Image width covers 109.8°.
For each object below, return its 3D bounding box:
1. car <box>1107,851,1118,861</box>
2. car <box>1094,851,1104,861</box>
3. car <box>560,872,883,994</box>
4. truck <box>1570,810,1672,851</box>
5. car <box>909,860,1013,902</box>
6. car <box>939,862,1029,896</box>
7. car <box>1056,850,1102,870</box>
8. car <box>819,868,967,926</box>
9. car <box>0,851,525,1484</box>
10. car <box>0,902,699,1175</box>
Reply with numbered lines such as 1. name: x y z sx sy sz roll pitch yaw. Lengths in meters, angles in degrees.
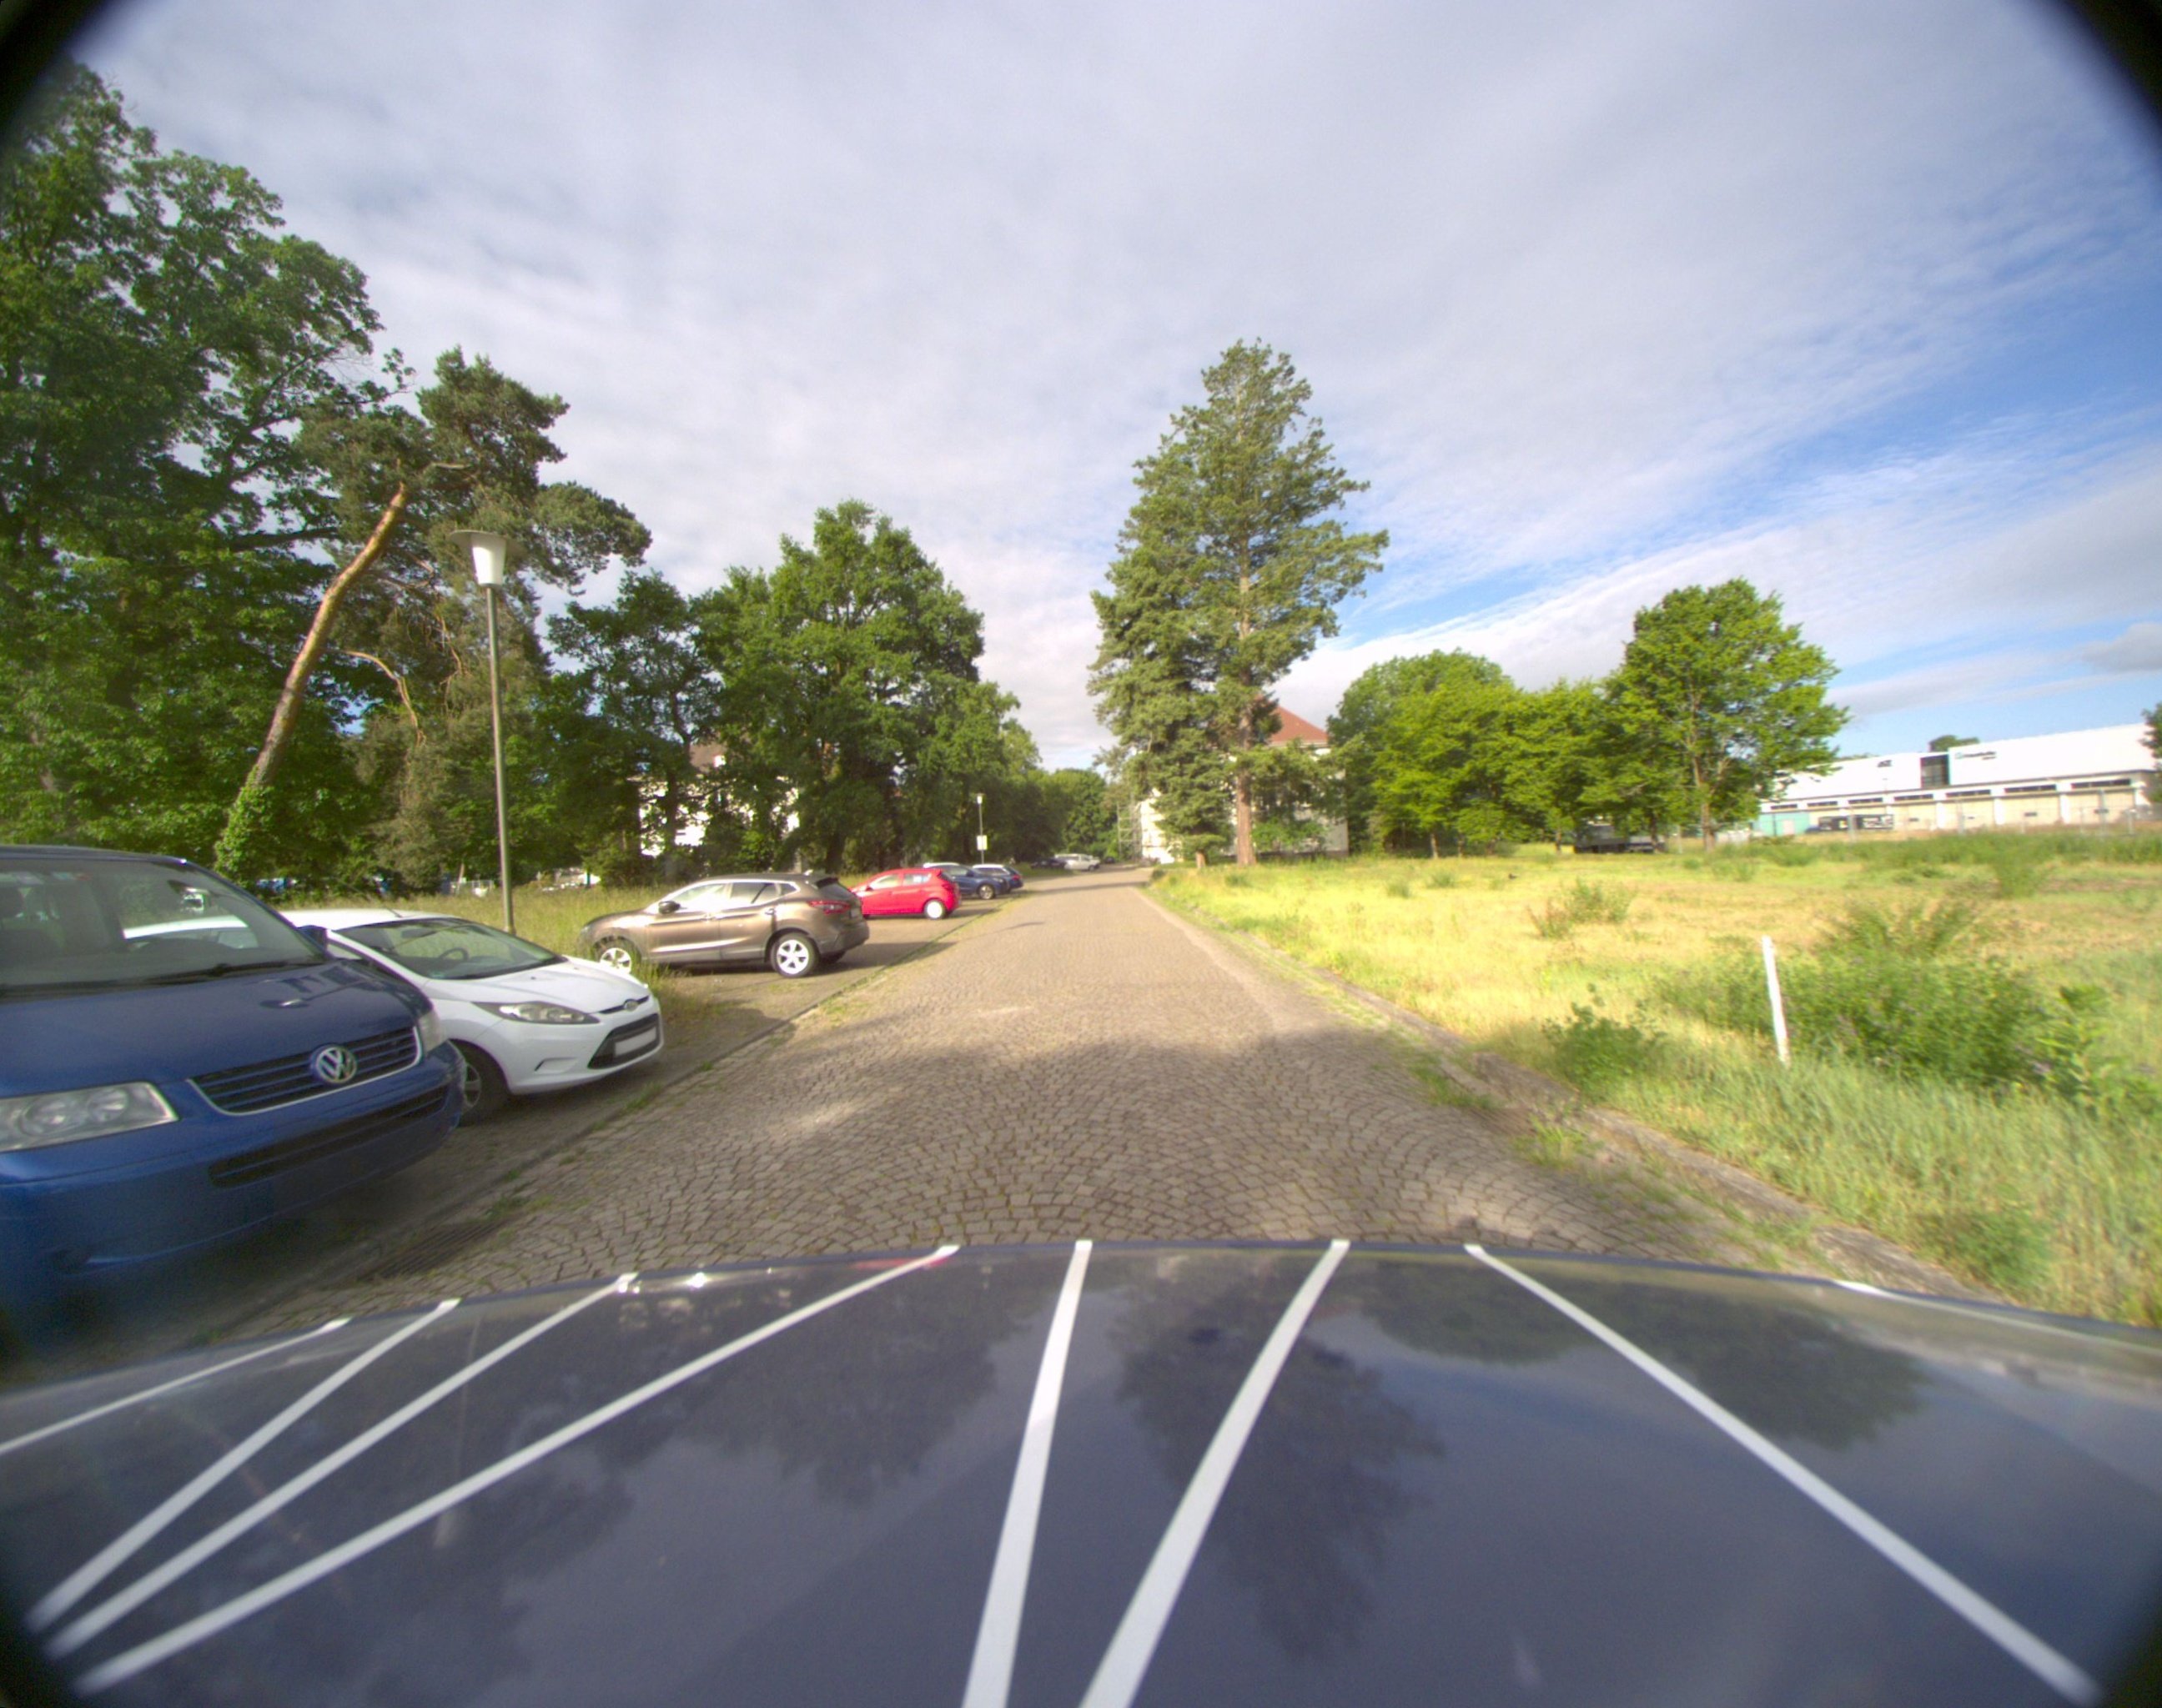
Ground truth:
1. car: 6.253 0.341 152.537 1.998 1.762 4.108 -3 1 1
2. car: 3.522 0.427 152.355 1.874 1.888 3.999 -3 1 1
3. car: -5.553 1.191 12.173 4.201 1.580 1.877 -2 1 0
4. truck: 37.345 -1.535 52.893 2.417 2.572 6.959 -3 0 3
5. car: -5.102 1.153 32.719 4.135 1.560 1.746 -2 1 0
6. car: -4.729 1.235 37.414 4.035 1.442 1.783 -2 1 3
7. car: -0.253 0.682 86.269 5.078 2.029 2.000 -3 0 1
8. car: -5.468 1.231 22.437 3.887 1.464 1.686 -2 1 0
9. car: -5.555 0.998 3.299 4.745 1.917 1.992 -1 1 0
10. car: -5.522 1.252 5.817 4.202 1.461 1.807 -2 1 -3
